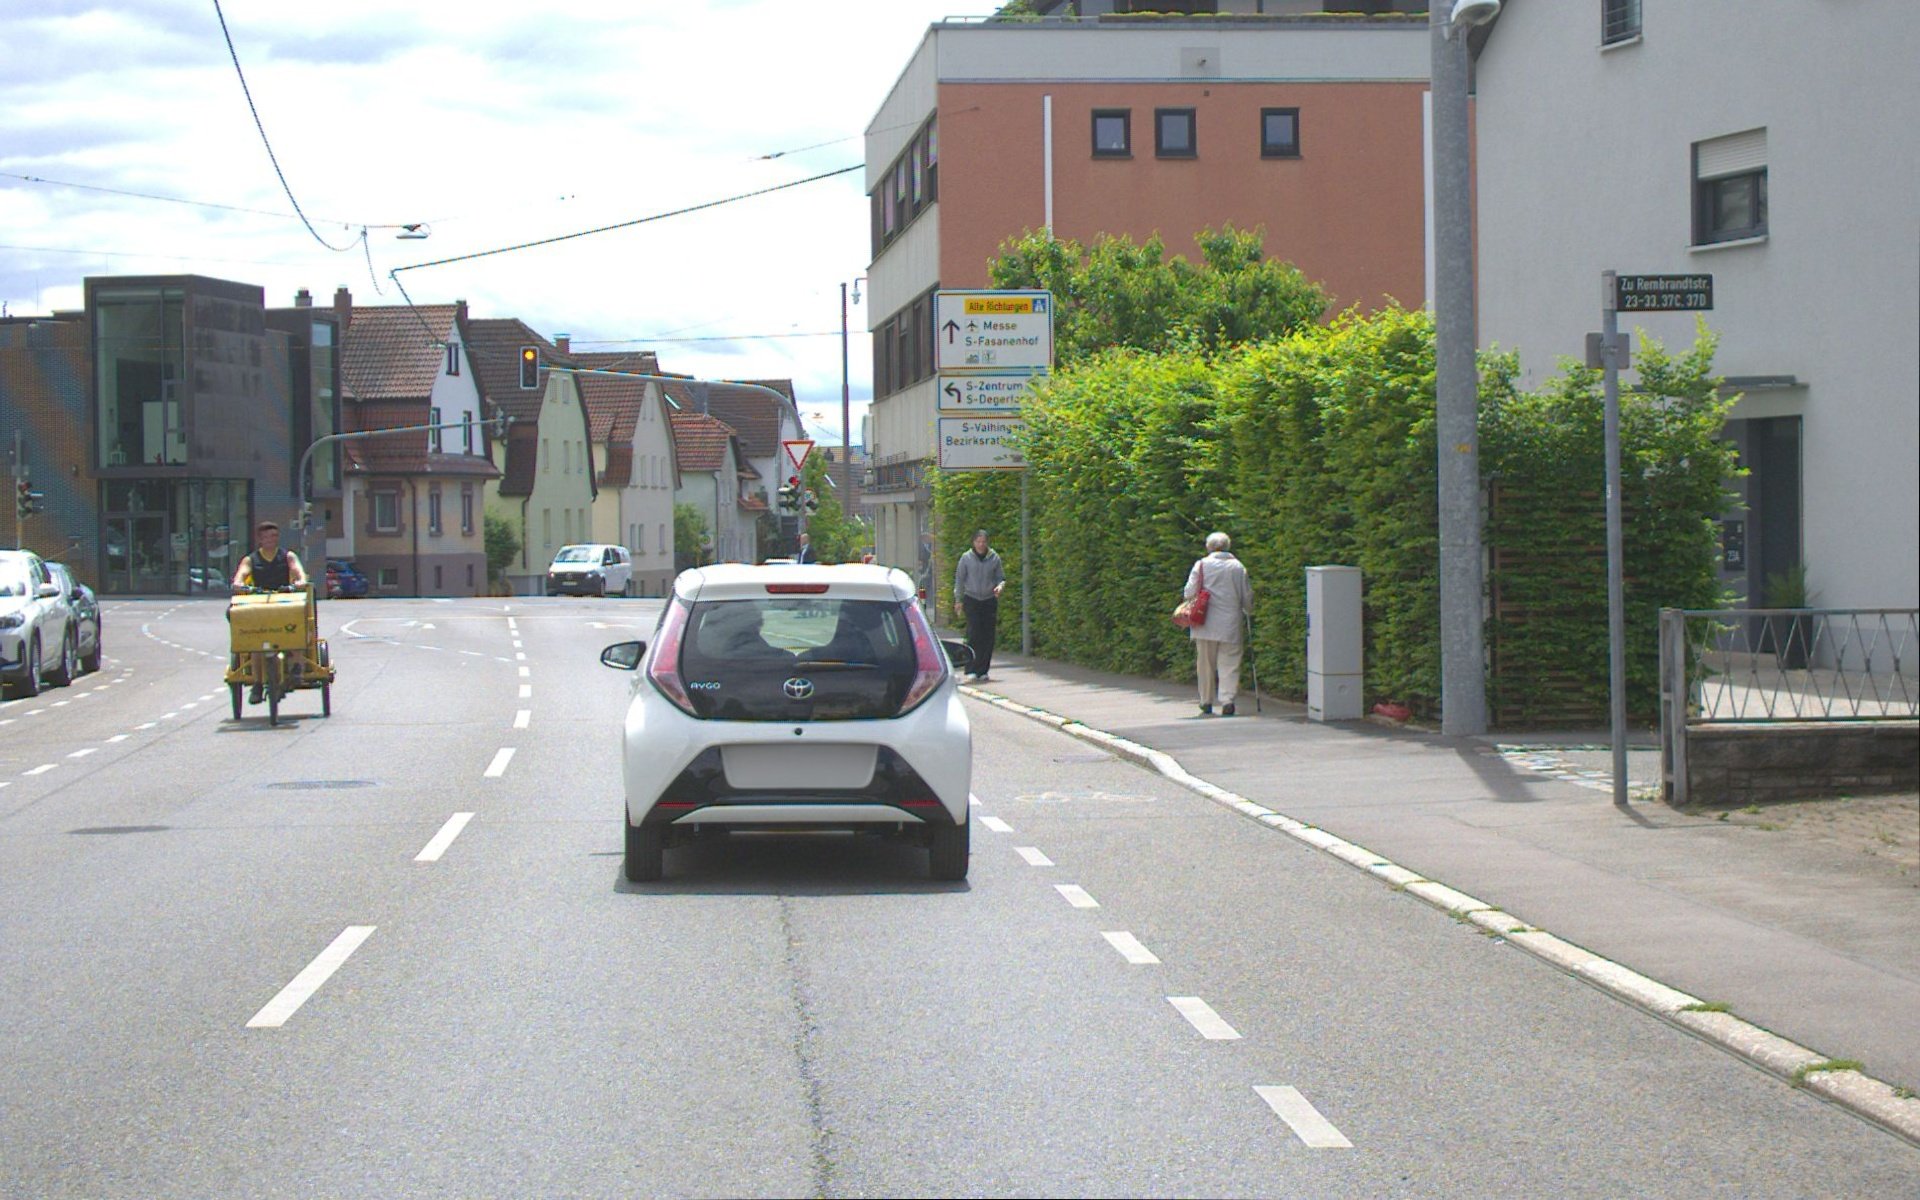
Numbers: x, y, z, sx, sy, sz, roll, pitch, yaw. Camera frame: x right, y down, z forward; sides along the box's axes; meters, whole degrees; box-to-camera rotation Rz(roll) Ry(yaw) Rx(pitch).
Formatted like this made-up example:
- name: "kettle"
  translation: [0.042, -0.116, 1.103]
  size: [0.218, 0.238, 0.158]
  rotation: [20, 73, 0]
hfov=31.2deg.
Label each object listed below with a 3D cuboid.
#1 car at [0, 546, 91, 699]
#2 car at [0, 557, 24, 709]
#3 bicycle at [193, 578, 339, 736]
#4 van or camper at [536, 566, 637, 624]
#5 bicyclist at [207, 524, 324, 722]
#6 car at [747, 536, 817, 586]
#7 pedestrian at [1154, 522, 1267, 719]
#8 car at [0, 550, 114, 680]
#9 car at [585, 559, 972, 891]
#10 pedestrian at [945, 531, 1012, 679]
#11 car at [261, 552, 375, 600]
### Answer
- name: "car"
  translation: [-11.319, 0.223, 39.459]
  size: [1.993, 1.645, 4.518]
  rotation: [-1, 1, -7]
- name: "car"
  translation: [-10.814, 0.377, 34.281]
  size: [1.993, 1.558, 4.690]
  rotation: [-1, 1, -4]
- name: "bicycle"
  translation: [-6.129, 0.473, 30.490]
  size: [0.863, 1.297, 2.662]
  rotation: [-1, 1, -3]
- name: "van or camper"
  translation: [-12.729, -0.186, 117.496]
  size: [2.116, 1.919, 5.283]
  rotation: [1, 1, 8]
- name: "bicyclist"
  translation: [-6.142, 0.187, 30.448]
  size: [0.792, 1.708, 1.209]
  rotation: [-1, 1, -2]
- name: "car"
  translation: [-6.925, -1.509, 133.951]
  size: [1.994, 1.897, 3.999]
  rotation: [1, 1, 8]
- name: "pedestrian"
  translation: [2.097, 0.162, 28.862]
  size: [0.798, 1.612, 0.653]
  rotation: [-2, 1, -5]
- name: "car"
  translation: [-12.245, 0.165, 44.621]
  size: [1.993, 1.582, 4.490]
  rotation: [-1, 1, -8]
- name: "car"
  translation: [-0.861, 0.542, 16.957]
  size: [1.697, 1.451, 3.299]
  rotation: [1, 1, -2]
- name: "pedestrian"
  translation: [0.199, 0.050, 38.045]
  size: [0.602, 1.600, 0.836]
  rotation: [-3, 1, -5]
- name: "car"
  translation: [-22.744, -0.859, 121.792]
  size: [3.615, 1.600, 1.691]
  rotation: [1, 0, 5]
